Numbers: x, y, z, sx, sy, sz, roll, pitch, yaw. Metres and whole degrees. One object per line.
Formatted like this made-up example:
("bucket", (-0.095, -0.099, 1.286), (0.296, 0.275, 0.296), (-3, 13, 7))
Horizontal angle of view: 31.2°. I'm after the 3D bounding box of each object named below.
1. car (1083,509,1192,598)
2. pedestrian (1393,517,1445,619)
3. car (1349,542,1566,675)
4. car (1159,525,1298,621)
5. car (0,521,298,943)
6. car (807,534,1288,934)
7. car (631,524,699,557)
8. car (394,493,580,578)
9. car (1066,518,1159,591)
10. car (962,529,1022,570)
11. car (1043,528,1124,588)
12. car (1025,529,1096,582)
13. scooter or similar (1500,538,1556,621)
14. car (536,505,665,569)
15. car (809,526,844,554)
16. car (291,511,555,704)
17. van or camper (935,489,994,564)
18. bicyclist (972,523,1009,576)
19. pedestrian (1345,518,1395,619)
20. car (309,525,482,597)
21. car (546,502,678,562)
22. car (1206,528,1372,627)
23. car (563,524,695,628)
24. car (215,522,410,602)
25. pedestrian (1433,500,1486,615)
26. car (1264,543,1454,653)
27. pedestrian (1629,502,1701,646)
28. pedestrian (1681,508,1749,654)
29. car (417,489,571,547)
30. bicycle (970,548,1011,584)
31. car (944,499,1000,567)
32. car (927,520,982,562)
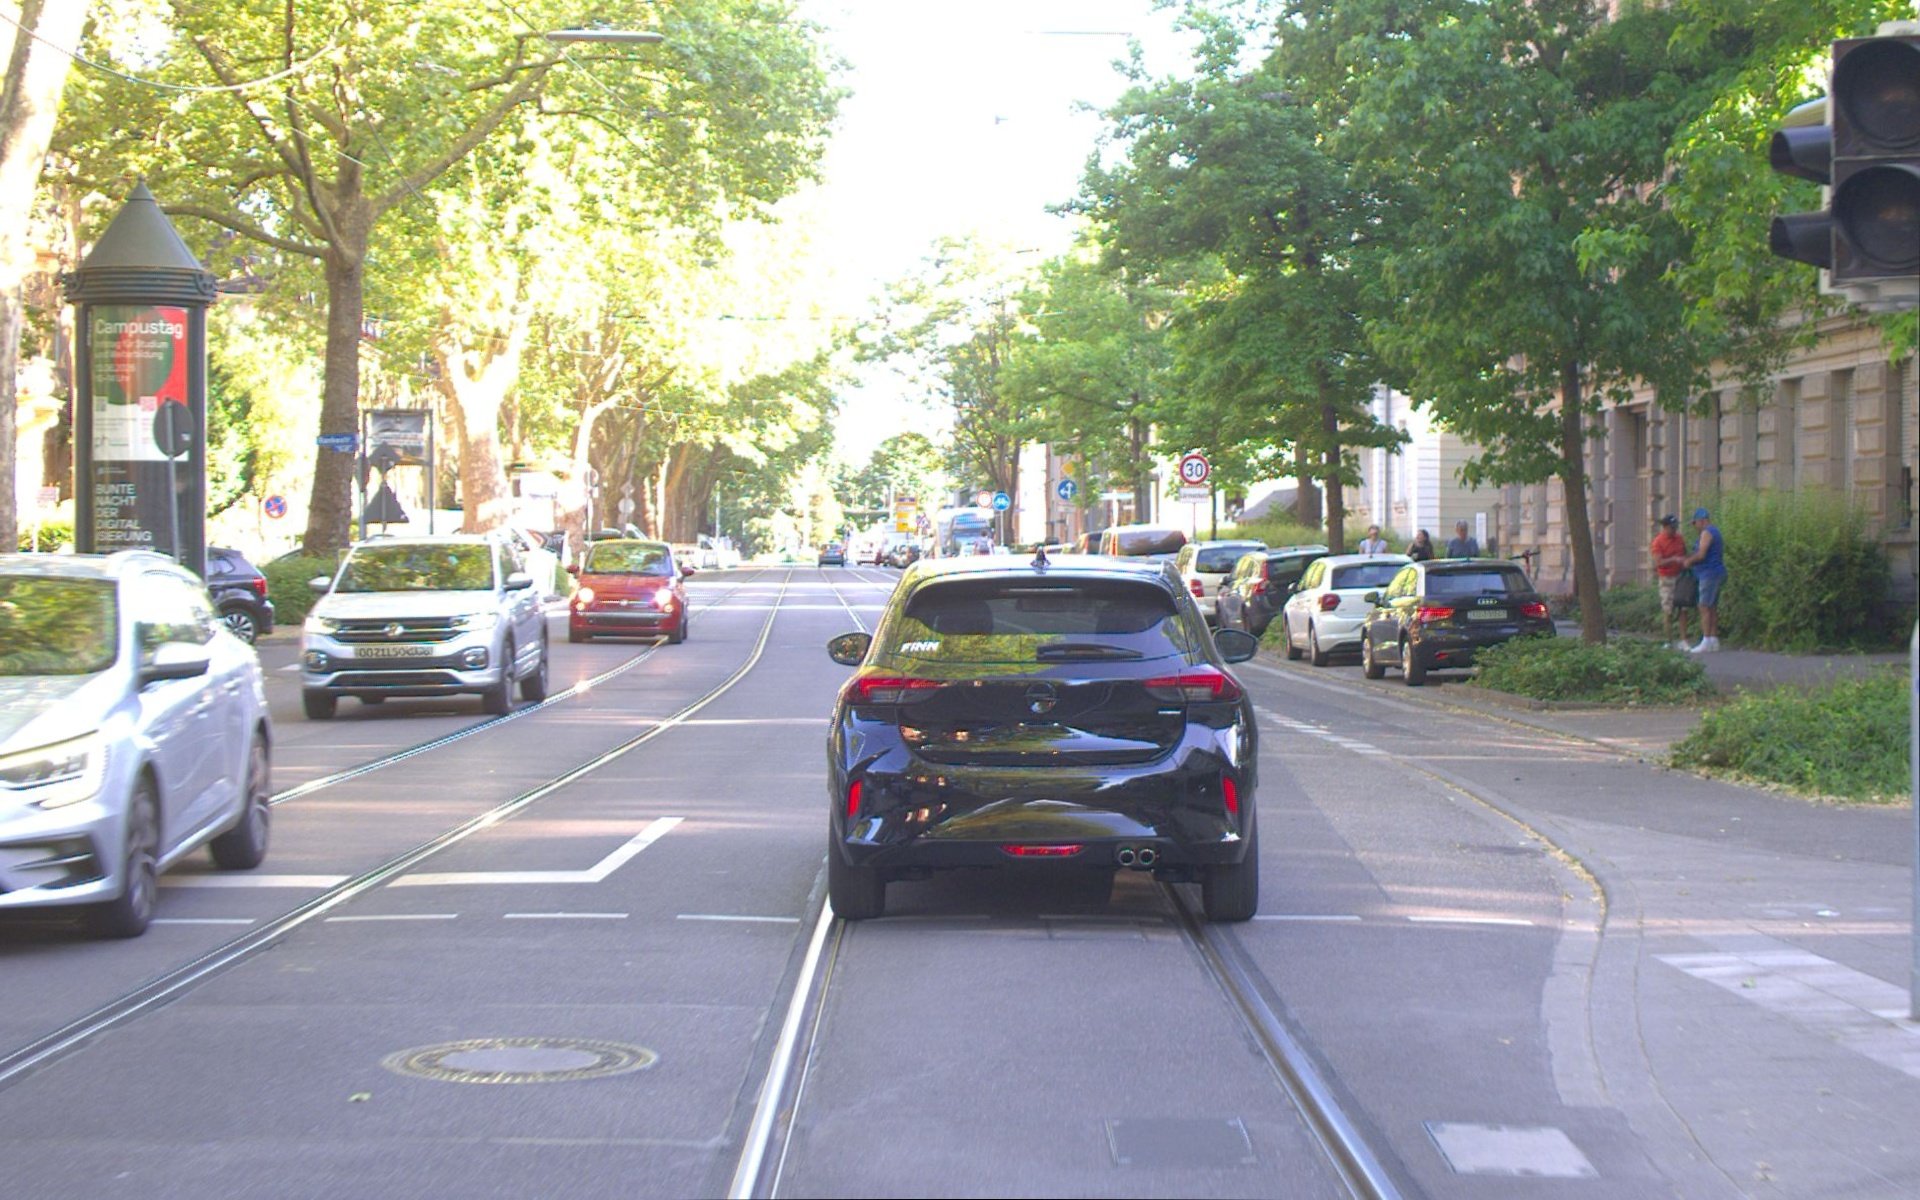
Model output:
("car", (3.890, -1.038, 76.165), (1.884, 1.845, 4.968), (-2, 1, -2))
("pedestrian", (7.799, -0.546, 58.403), (0.726, 1.703, 0.856), (1, 1, 0))
("car", (5.722, 0.060, 39.958), (1.672, 1.407, 3.843), (-2, 1, -4))
("car", (4.680, -0.494, 60.554), (1.884, 1.562, 4.243), (-2, 1, -2))
("car", (-3.938, 0.409, 13.989), (1.775, 1.456, 4.205), (1, 1, -2))
("car", (0.248, 0.467, 14.758), (1.763, 1.455, 3.951), (1, 1, -2))
("car", (-18.686, -3.776, 217.548), (3.987, 2.007, 2.000), (1, 1, 4))
("car", (-13.222, -1.809, 96.269), (5.032, 2.251, 2.086), (1, 1, -5))
("car", (3.746, -1.138, 85.277), (1.885, 1.760, 4.679), (0, 1, -2))
("car", (1.147, -1.852, 125.878), (1.884, 1.429, 4.531), (-2, 1, -2))
("car", (3.251, -1.130, 91.216), (1.711, 1.509, 4.037), (-2, 1, -4))
("car", (2.913, -1.314, 99.903), (1.702, 1.418, 3.979), (-3, 1, -2))
("scooter or similar", (8.720, -0.318, 52.821), (0.575, 1.242, 1.335), (1, 1, -1))
("car", (-14.840, -2.601, 142.083), (5.035, 2.366, 2.081), (-3, 1, -2))
("car", (-9.028, -4.073, 231.931), (2.254, 1.834, 5.532), (-1, 1, -3))
("car", (-4.685, 0.023, 30.512), (1.815, 1.563, 4.117), (-1, 1, -2))
("van or camper", (0.162, -3.187, 149.787), (2.254, 3.205, 5.532), (-1, 1, -3))
("bicyclist", (0.881, -1.471, 100.017), (0.958, 1.494, 1.094), (1, 1, -4))
("pedestrian", (6.957, -0.539, 58.319), (0.726, 1.687, 0.957), (1, 1, 1))
("car", (-12.134, -0.837, 73.987), (3.419, 1.460, 1.759), (1, 1, 0))
("car", (-15.636, -3.069, 154.774), (5.639, 2.584, 2.196), (1, 1, 2))
("car", (5.289, -0.388, 55.815), (1.884, 1.462, 4.595), (-2, 1, -4))
("car", (-4.795, -0.367, 50.095), (1.660, 1.439, 3.474), (-1, 1, -2))
("car", (-12.502, -0.734, 66.496), (3.419, 1.460, 1.697), (1, 1, 0))
("pedestrian", (7.807, -0.667, 53.772), (0.726, 1.787, 0.600), (1, 1, 3))
("car", (5.358, -0.062, 46.608), (1.884, 1.363, 4.107), (-2, 1, -2))
("pedestrian", (8.884, -0.334, 43.342), (0.726, 1.787, 0.600), (1, 1, -1))
("pedestrian", (9.335, -0.239, 42.525), (0.598, 1.787, 0.728), (1, 1, -5))
("car", (-13.468, -2.376, 99.480), (4.298, 1.601, 1.926), (1, 1, -5))
("bicycle", (0.878, -0.999, 100.039), (0.967, 0.995, 2.583), (1, 1, -4))
("car", (0.476, -2.797, 143.234), (2.085, 2.762, 4.698), (-1, 2, -3))
("car", (-0.255, -2.701, 156.986), (2.254, 1.834, 5.532), (-1, 1, -3))
